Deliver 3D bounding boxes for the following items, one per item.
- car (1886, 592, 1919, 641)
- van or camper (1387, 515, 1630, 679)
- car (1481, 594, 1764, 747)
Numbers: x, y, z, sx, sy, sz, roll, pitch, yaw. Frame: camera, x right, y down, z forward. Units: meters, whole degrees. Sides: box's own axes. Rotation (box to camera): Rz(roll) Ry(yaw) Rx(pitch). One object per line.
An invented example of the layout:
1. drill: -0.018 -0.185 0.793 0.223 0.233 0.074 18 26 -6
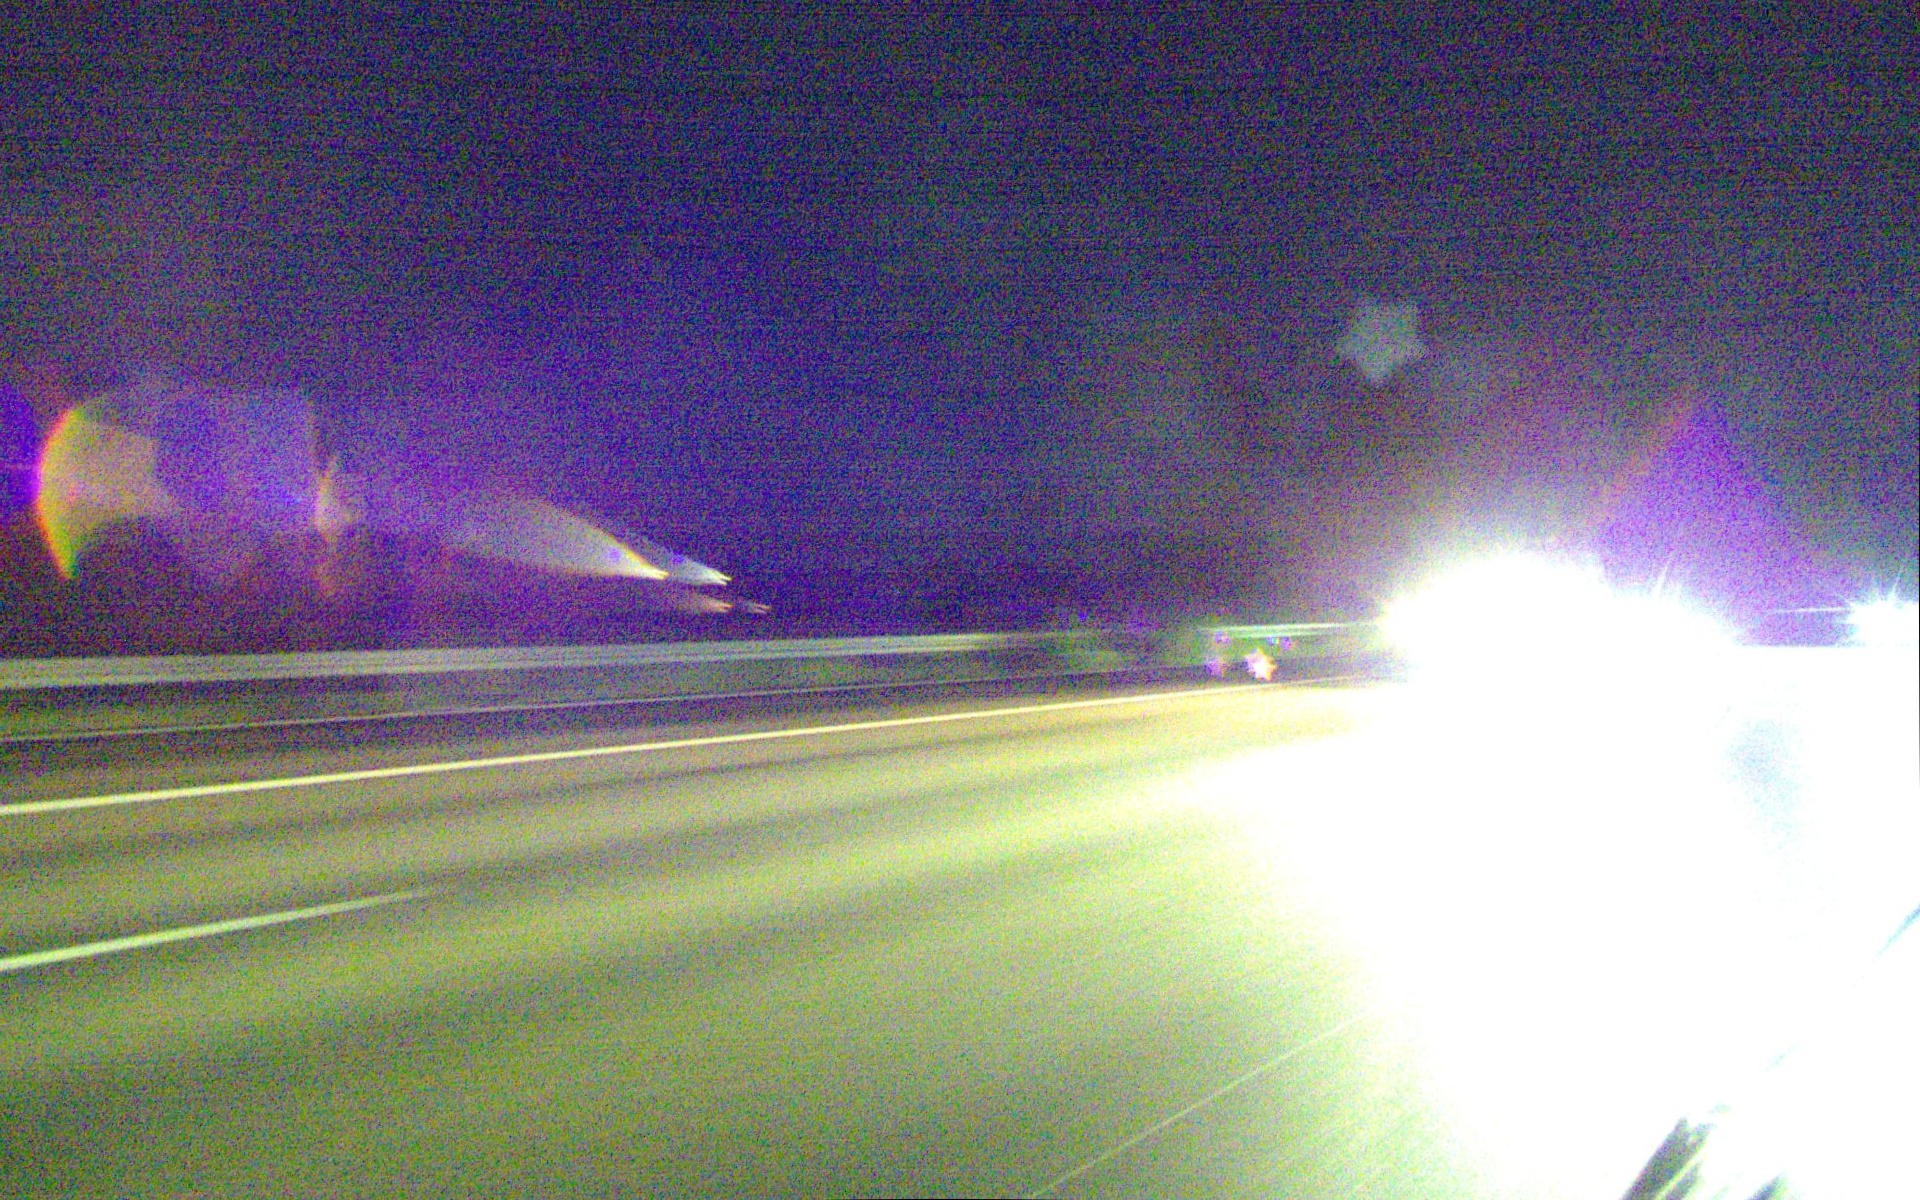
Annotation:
1. car: 32.716 0.534 34.057 4.151 1.560 1.794 0 1 -41
2. van or camper: 11.219 -0.056 20.388 6.687 2.807 2.210 0 0 -42
3. car: 7.848 0.672 11.836 4.151 1.431 1.689 -1 2 -41
